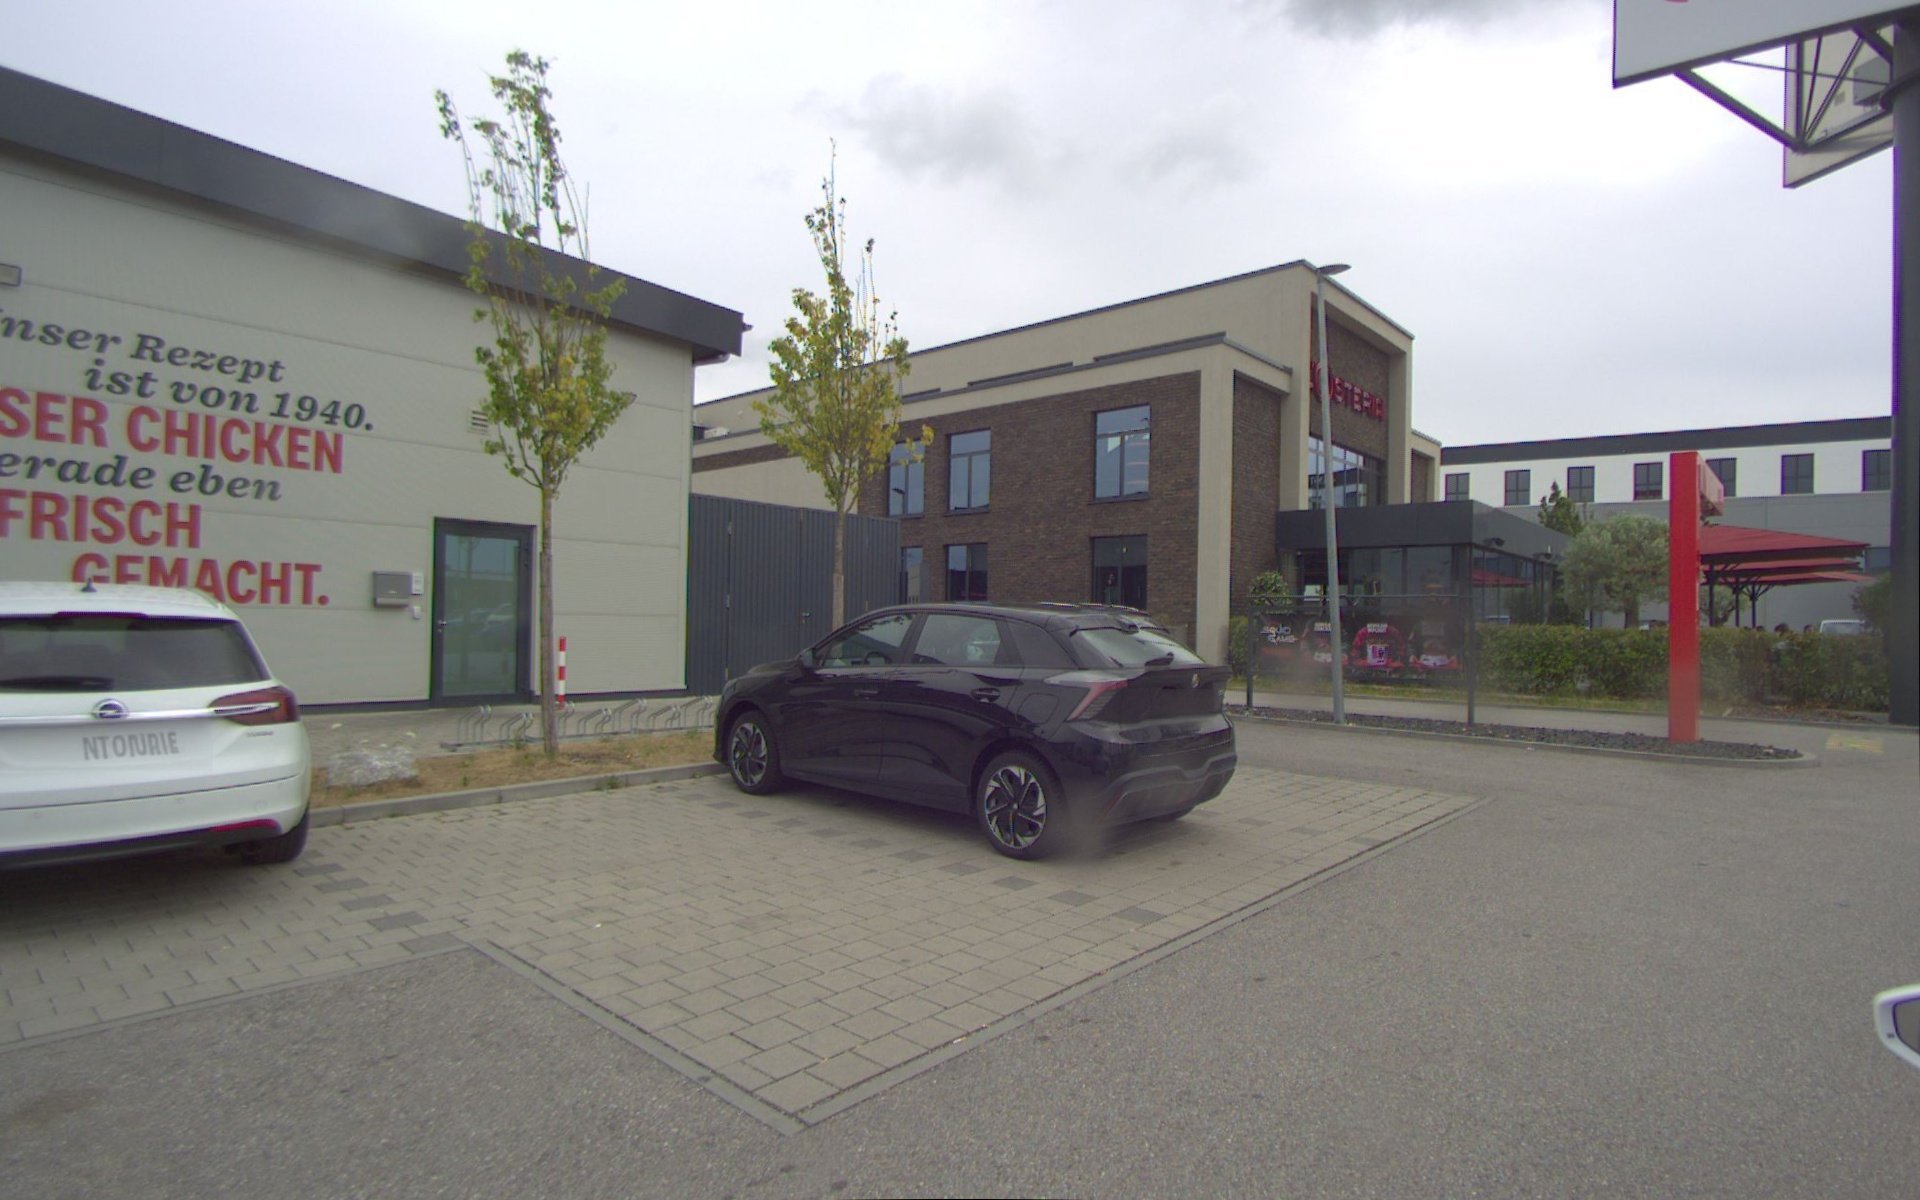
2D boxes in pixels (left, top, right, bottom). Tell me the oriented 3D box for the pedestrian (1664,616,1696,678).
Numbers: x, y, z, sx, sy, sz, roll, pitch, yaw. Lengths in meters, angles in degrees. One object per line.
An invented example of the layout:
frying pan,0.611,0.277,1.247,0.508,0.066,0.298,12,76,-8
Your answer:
pedestrian,14.376,0.935,20.044,0.453,1.215,0.416,2,-3,-43

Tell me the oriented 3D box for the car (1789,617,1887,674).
car,27.733,1.420,31.871,1.968,1.672,4.561,-2,-3,37

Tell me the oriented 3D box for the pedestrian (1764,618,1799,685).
pedestrian,15.181,0.941,18.557,0.453,1.215,0.416,2,-3,-43

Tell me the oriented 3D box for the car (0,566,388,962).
car,-4.907,0.636,5.490,4.122,1.505,1.988,0,-2,44

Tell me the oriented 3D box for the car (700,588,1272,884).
car,-0.023,0.730,7.373,4.065,1.548,1.731,1,-1,43

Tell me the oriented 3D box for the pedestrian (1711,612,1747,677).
pedestrian,21.336,1.237,27.862,0.731,1.771,0.701,-2,-2,39

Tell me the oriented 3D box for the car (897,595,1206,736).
car,1.114,0.834,13.533,3.944,1.617,1.726,-2,-3,43
